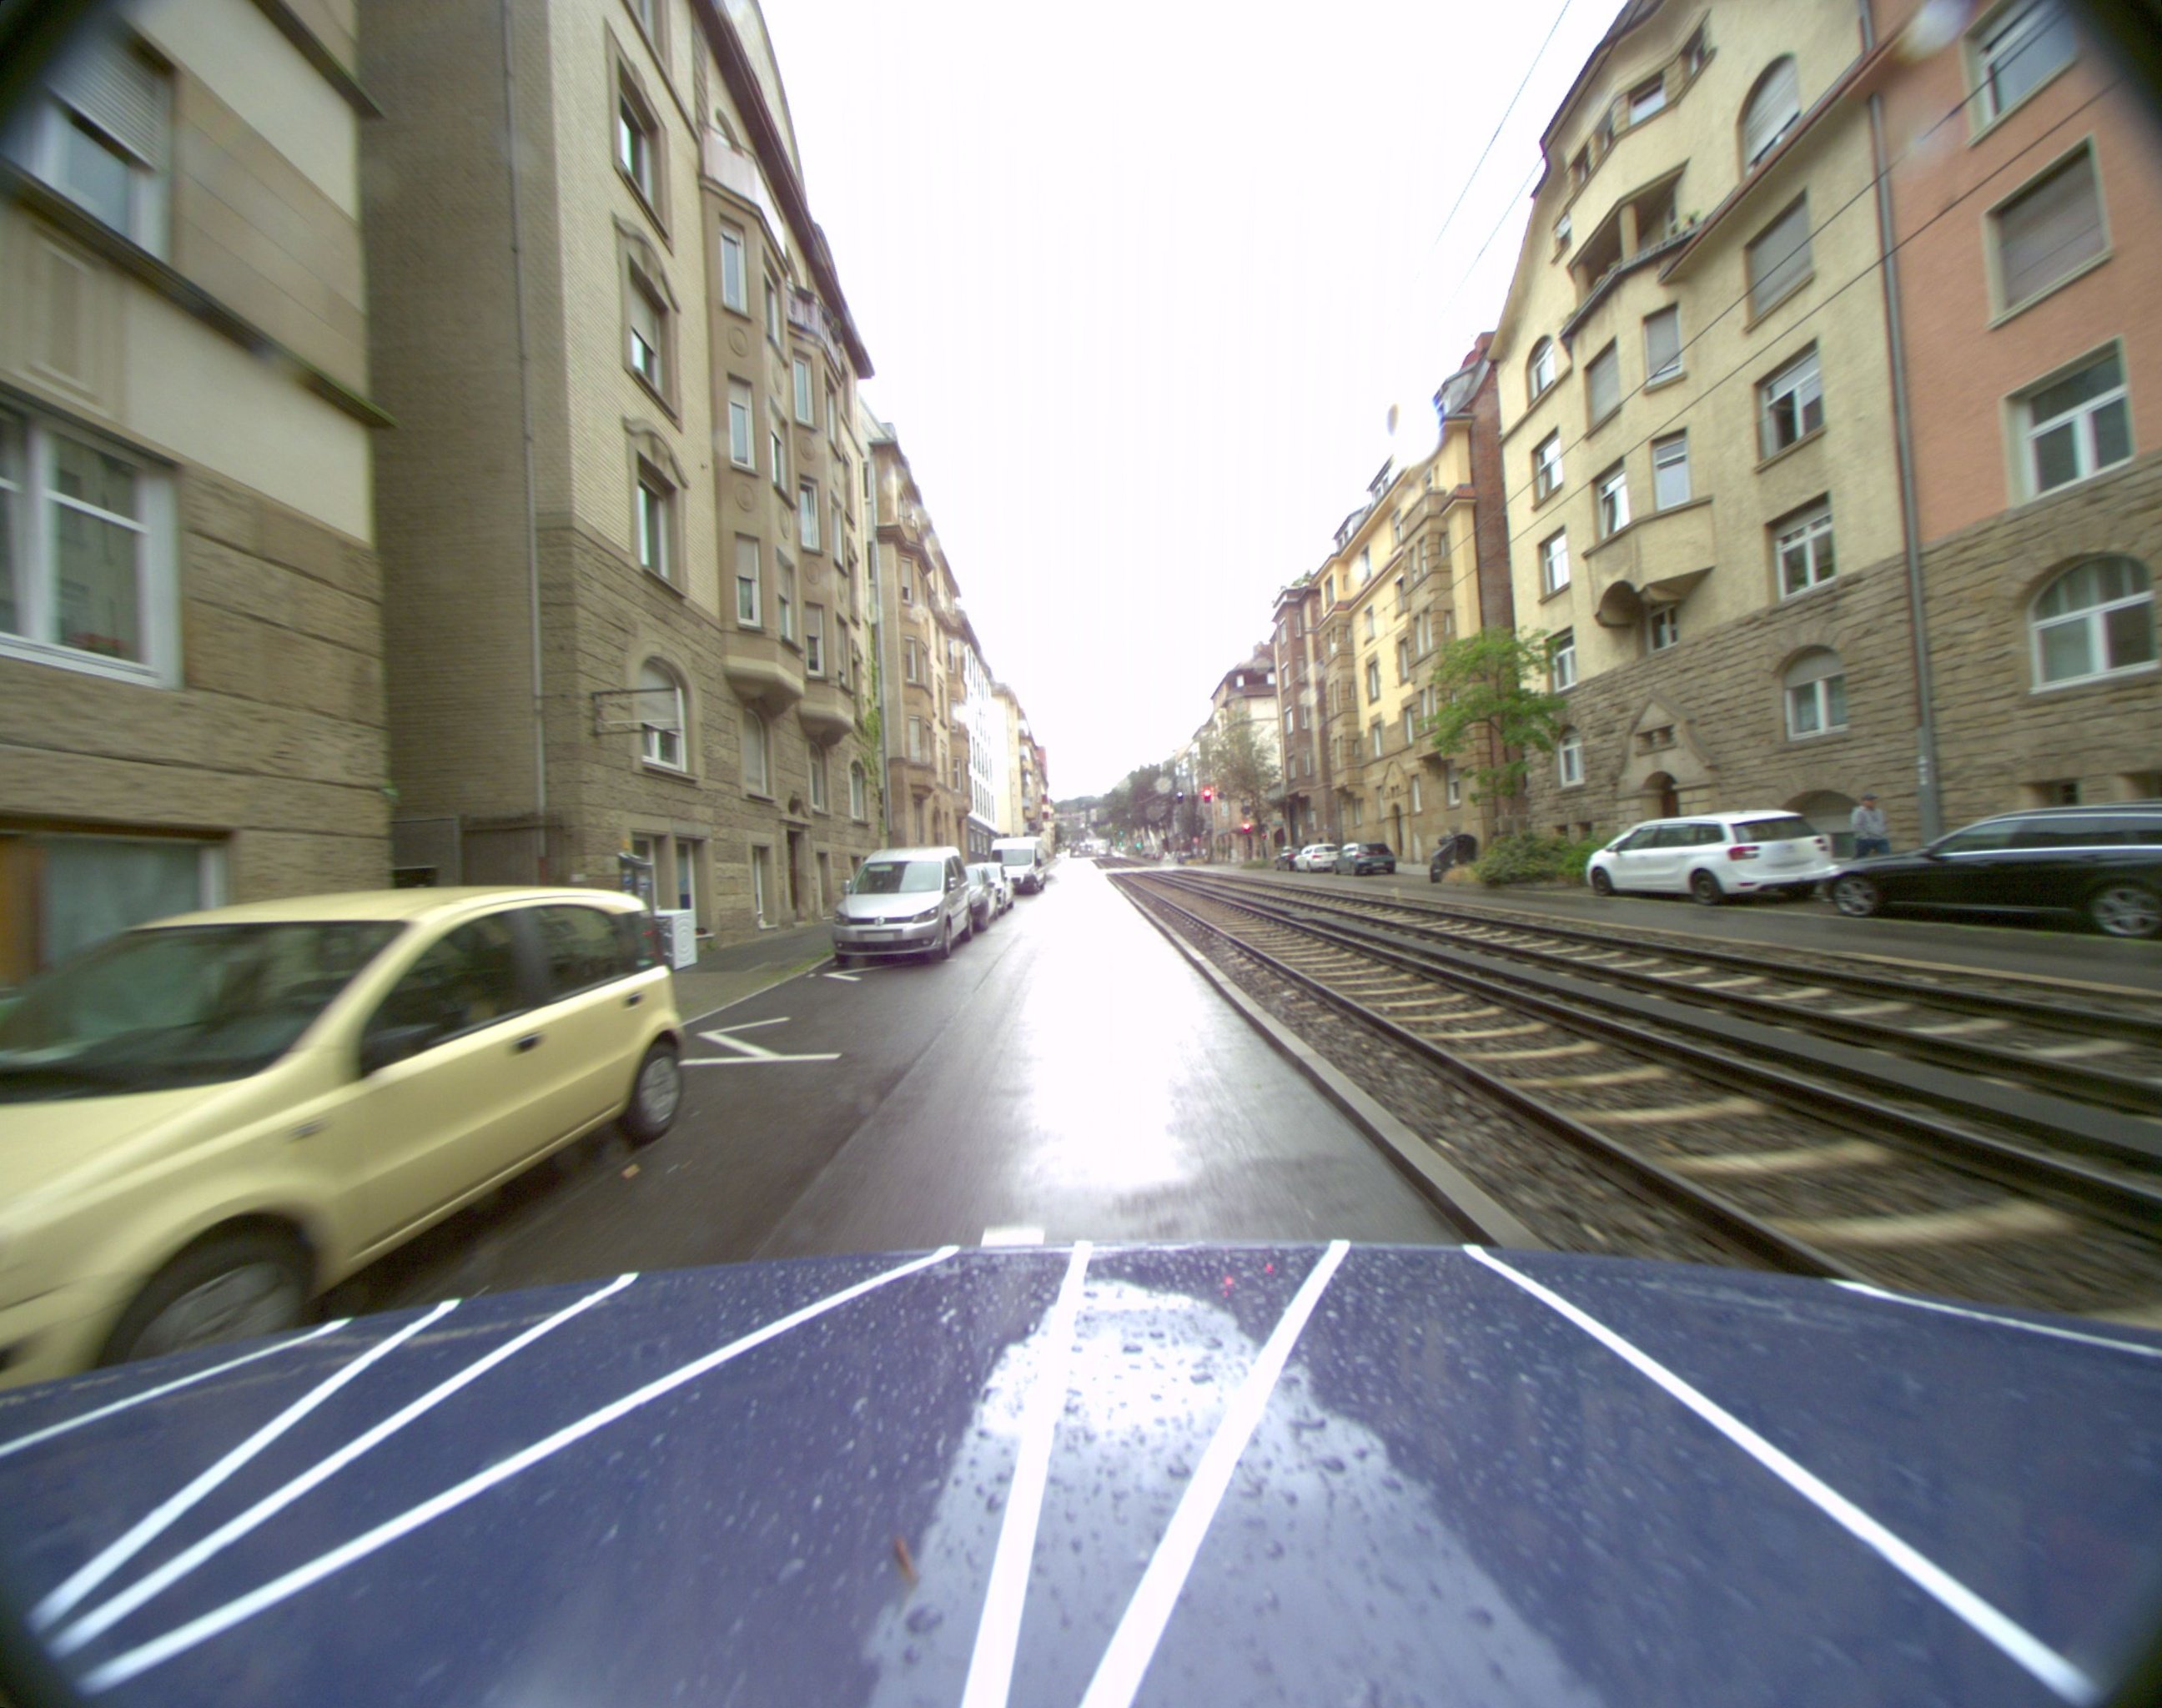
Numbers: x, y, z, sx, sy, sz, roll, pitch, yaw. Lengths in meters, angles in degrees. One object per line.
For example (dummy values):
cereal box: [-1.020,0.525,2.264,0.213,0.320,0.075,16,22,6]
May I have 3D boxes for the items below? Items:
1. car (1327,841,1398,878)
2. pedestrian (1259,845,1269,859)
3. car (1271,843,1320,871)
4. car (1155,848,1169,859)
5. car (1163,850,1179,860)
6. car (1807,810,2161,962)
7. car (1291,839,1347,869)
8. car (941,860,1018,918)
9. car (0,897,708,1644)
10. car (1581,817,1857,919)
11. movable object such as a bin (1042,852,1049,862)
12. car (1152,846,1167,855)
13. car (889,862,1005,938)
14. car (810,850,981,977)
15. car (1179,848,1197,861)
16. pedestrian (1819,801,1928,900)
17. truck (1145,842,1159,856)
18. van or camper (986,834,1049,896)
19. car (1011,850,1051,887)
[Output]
car: [12.479,0.223,33.960,1.565,1.429,4.145,-5,1,1]
pedestrian: [18.136,-0.203,75.359,0.819,1.407,0.721,-4,1,4]
car: [12.702,0.125,45.170,1.769,1.477,3.999,-3,1,1]
car: [12.901,-0.042,121.107,1.780,1.560,4.157,-3,2,1]
car: [12.996,0.114,109.639,1.706,1.328,4.129,-5,1,1]
car: [12.312,0.293,9.342,1.998,1.500,4.974,-5,0,1]
car: [12.461,-0.013,39.969,1.671,1.417,4.262,-3,1,2]
car: [-2.889,0.954,22.427,1.680,1.403,4.000,-4,0,0]
car: [-3.195,1.059,3.029,1.563,1.469,3.460,-4,0,1]
car: [12.191,0.223,14.990,1.789,1.580,4.351,-5,0,2]
movable object such as a bin: [-5.262,0.428,112.788,1.011,1.443,1.393,-1,1,1]
car: [13.254,-0.607,128.244,1.911,1.432,4.468,-3,1,-1]
car: [-3.020,0.997,17.988,1.999,1.433,3.999,-2,1,0]
car: [-2.960,0.852,13.139,1.779,1.766,4.360,-2,0,1]
car: [13.492,0.074,95.667,1.811,1.489,3.526,-3,0,2]
pedestrian: [14.897,-0.060,14.317,1.010,1.743,0.924,-4,0,-2]
truck: [13.244,-0.962,142.416,2.197,2.333,6.351,-2,2,2]
van or camper: [-2.712,0.407,33.931,2.069,2.455,6.118,-3,1,1]
car: [-2.724,0.760,42.428,1.773,1.797,4.482,-4,0,1]
